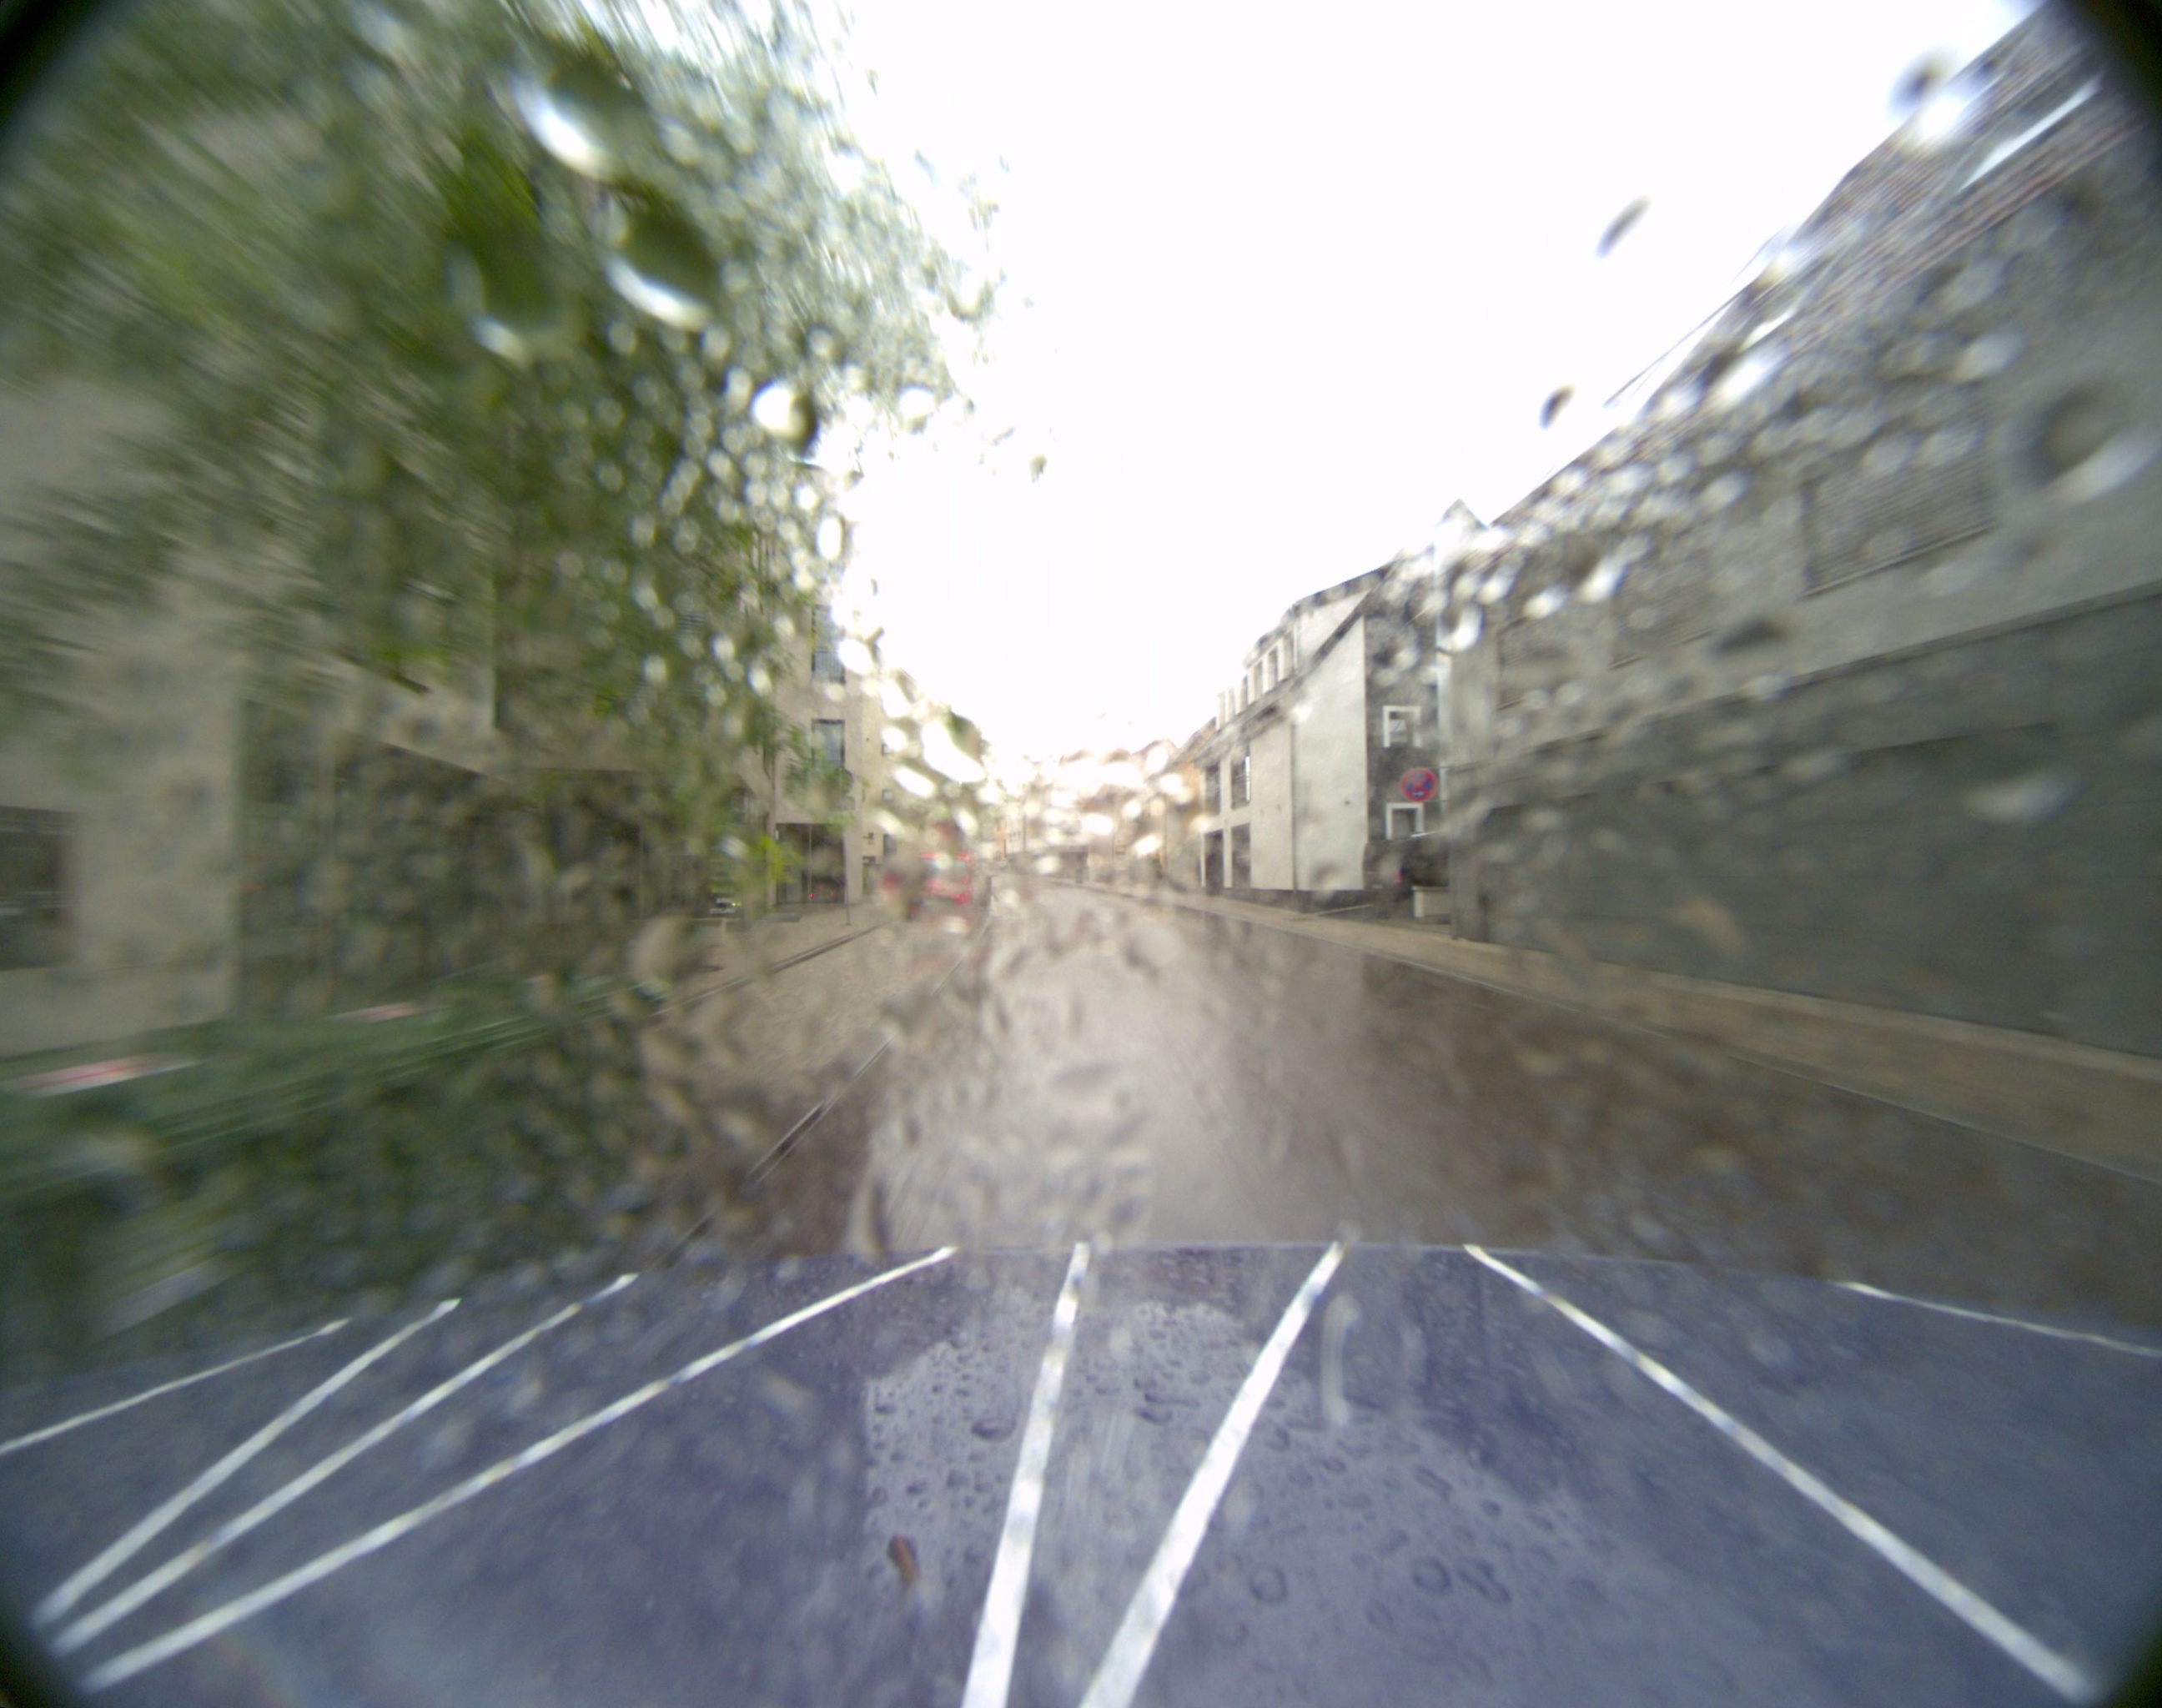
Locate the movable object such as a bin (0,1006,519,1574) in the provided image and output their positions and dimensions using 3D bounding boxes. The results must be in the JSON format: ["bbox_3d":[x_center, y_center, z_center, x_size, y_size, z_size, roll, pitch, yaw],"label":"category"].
[{"bbox_3d":[-2.146,1.062,2.066,0.753,1.164,0.631,0,1,4],"label":"movable object such as a bin"}]

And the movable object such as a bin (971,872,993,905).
[{"bbox_3d":[-3.359,1.160,25.705,0.711,1.081,0.601,0,0,-5],"label":"movable object such as a bin"}]

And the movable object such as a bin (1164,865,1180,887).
[{"bbox_3d":[4.795,1.143,40.068,0.659,1.102,0.721,2,1,-2],"label":"movable object such as a bin"}]

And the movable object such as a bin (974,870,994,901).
[{"bbox_3d":[-3.553,1.149,27.827,0.711,1.081,0.601,0,0,-8],"label":"movable object such as a bin"}]

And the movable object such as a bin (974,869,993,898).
[{"bbox_3d":[-3.782,1.140,29.554,0.711,1.081,0.601,0,0,-8],"label":"movable object such as a bin"}]

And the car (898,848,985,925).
[{"bbox_3d":[-3.755,0.786,21.195,1.841,1.896,4.602,1,1,-4],"label":"car"}]

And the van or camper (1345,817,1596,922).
[{"bbox_3d":[9.426,0.343,18.623,5.038,1.922,1.999,-6,1,-4],"label":"van or camper"}]

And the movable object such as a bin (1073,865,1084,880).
[{"bbox_3d":[-0.175,1.287,53.036,0.715,1.053,0.575,-1,1,-9],"label":"movable object such as a bin"}]

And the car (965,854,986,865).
[{"bbox_3d":[-13.908,0.718,100.118,2.001,1.437,3.993,-2,1,-18],"label":"car"}]

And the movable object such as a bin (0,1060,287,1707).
[{"bbox_3d":[-2.186,1.055,1.413,0.753,1.164,0.631,0,1,4],"label":"movable object such as a bin"}]

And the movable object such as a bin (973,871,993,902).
[{"bbox_3d":[-3.474,1.157,26.977,0.711,1.081,0.601,0,0,-5],"label":"movable object such as a bin"}]

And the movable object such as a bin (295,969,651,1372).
[{"bbox_3d":[-2.106,1.045,2.719,0.753,1.164,0.631,0,1,4],"label":"movable object such as a bin"}]

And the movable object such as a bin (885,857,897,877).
[{"bbox_3d":[-11.594,0.814,46.342,0.586,1.178,0.719,2,1,-25],"label":"movable object such as a bin"}]
